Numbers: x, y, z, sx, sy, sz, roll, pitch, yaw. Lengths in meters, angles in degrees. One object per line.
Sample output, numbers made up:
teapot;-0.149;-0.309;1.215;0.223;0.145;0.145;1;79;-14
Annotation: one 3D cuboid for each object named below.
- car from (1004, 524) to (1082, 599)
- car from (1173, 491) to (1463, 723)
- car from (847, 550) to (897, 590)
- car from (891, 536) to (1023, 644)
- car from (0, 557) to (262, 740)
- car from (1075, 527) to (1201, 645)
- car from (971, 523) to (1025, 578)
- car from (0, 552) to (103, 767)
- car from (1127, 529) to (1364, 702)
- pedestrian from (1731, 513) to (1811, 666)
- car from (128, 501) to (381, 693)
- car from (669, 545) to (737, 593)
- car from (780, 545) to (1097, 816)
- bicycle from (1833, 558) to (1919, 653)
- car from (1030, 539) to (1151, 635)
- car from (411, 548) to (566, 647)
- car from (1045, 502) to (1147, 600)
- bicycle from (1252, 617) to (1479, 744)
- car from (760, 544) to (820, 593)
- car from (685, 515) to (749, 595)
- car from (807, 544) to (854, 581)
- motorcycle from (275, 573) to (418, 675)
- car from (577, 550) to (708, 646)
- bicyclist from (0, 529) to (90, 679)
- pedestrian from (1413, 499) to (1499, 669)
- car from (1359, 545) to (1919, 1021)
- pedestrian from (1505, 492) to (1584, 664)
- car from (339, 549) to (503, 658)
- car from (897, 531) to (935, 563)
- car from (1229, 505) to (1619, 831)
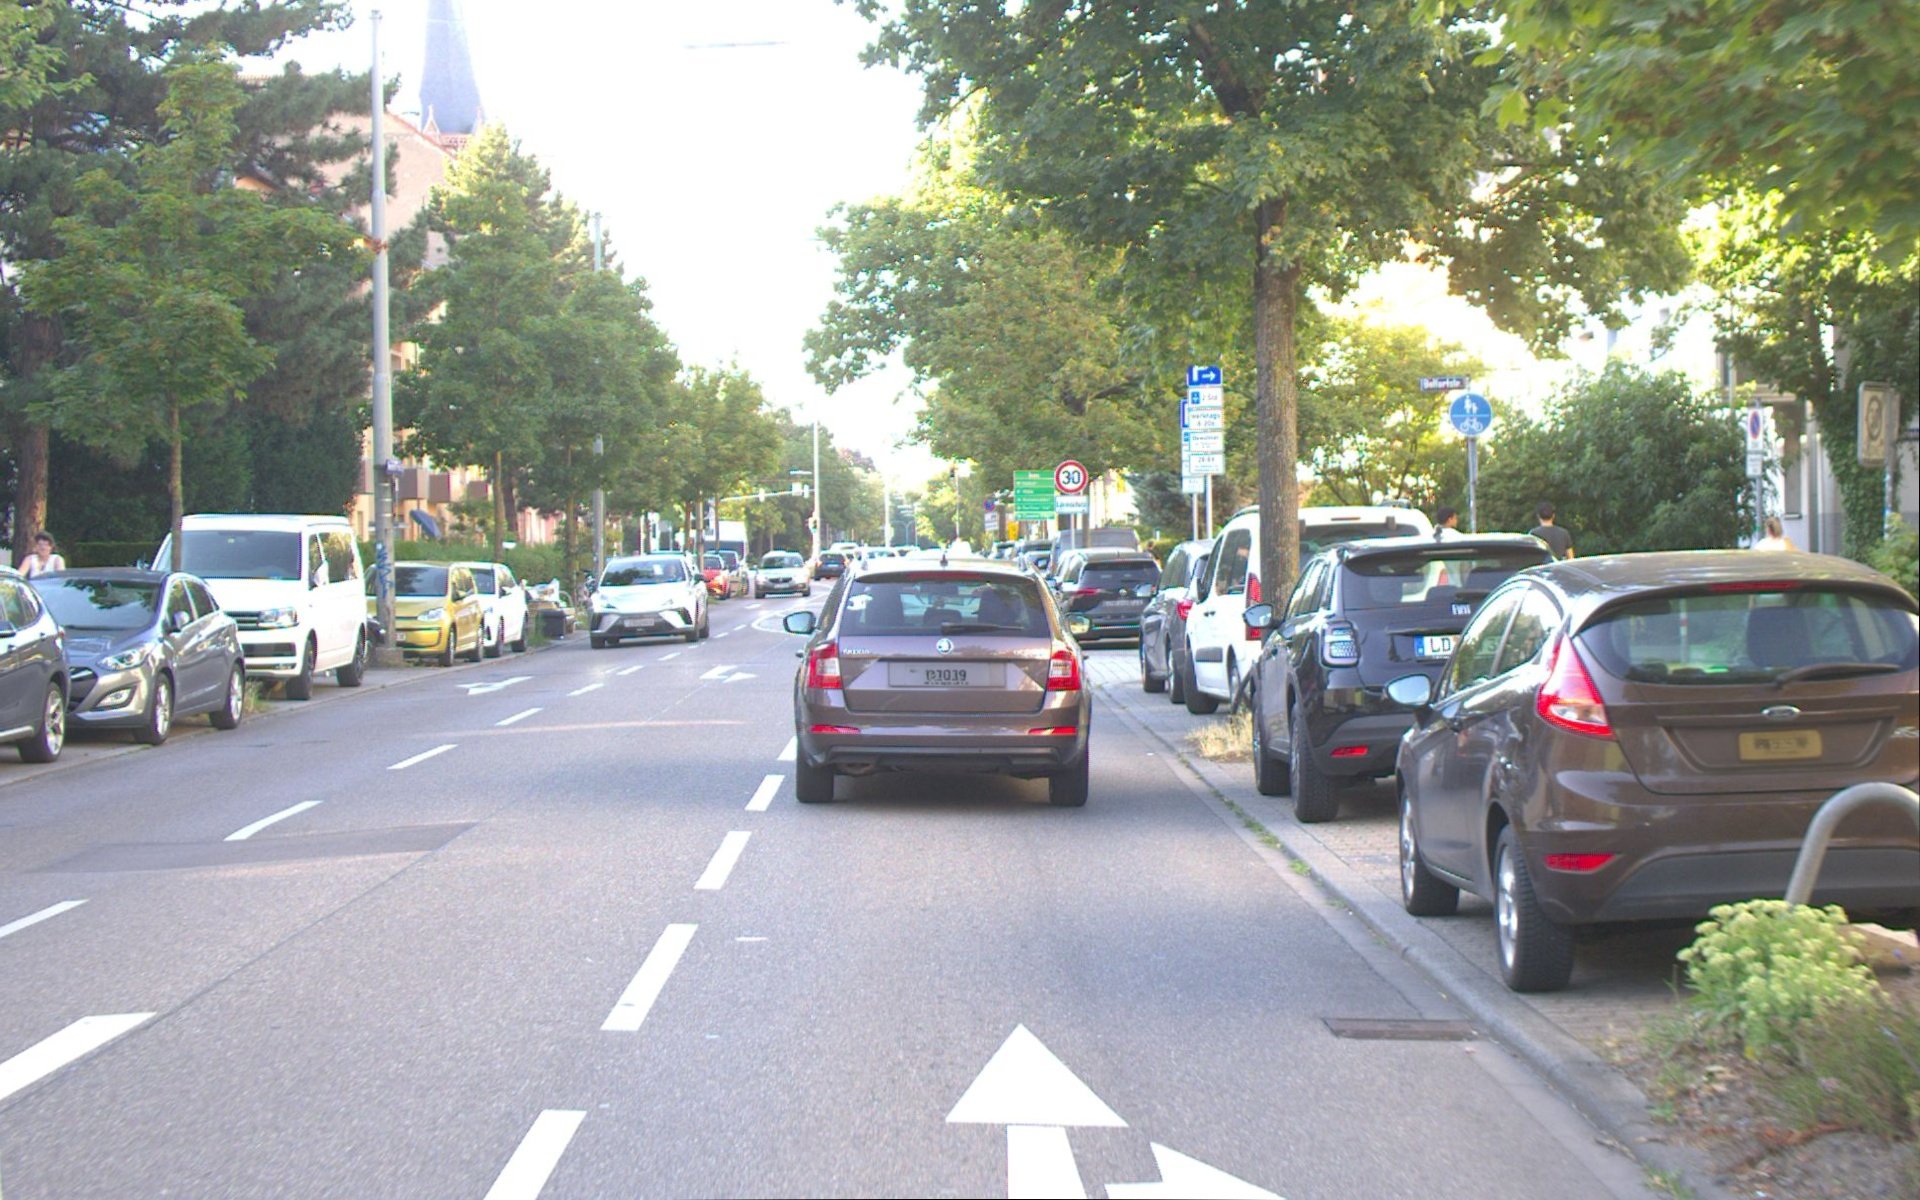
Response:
car;1.957;-0.928;81.262;1.754;1.709;4.000;1;1;1
car;2.958;0.018;29.328;1.800;1.802;4.424;1;1;-3
car;-3.398;-1.162;132.195;1.780;1.475;3.971;1;1;-3
car;-0.075;-0.148;52.748;1.892;1.501;3.790;3;0;-1
car;-7.509;0.376;30.408;1.692;1.478;4.143;-1;1;2
car;2.660;-0.237;52.107;1.754;1.680;4.252;1;1;1
car;1.279;-1.680;116.905;1.754;1.799;4.000;1;1;0
car;-7.756;0.437;25.303;1.672;1.537;4.473;-1;1;1
car;2.762;0.106;34.088;1.754;1.551;4.253;-2;1;-3
pedestrian;9.277;-0.121;39.356;0.799;1.716;0.744;-1;1;9
car;-7.920;-0.075;39.064;1.868;2.024;5.301;0;1;-1
car;-8.293;-1.014;111.193;1.781;1.475;3.971;1;1;2
car;-0.077;0.416;21.224;1.754;1.487;4.000;1;1;1
bicycle;9.558;0.047;35.779;0.475;0.941;1.680;-1;1;-1
car;2.178;-0.246;58.349;1.754;1.551;4.105;1;1;-2
car;-7.451;-0.066;54.644;1.781;1.489;3.971;1;1;2
car;2.676;-0.985;68.582;1.916;1.854;5.633;-1;1;1
bicycle;2.895;0.574;24.571;1.552;0.866;0.393;-1;1;-3
car;-5.600;-1.051;113.884;1.739;1.474;4.310;-4;1;-1
car;-8.729;-1.624;123.752;1.991;2.771;5.504;1;1;-1
car;-6.274;-1.810;166.199;1.993;1.744;4.001;-1;1;-6
motorcycle;-7.835;0.291;44.014;0.659;1.200;2.330;-1;1;21
car;-5.367;-0.057;58.498;1.781;1.489;3.971;-3;1;0
bicyclist;-9.879;0.037;37.134;0.603;1.587;0.939;-1;1;7
pedestrian;5.545;-0.186;38.494;0.749;1.854;1.068;-1;1;-1
car;2.583;0.550;12.915;1.613;1.461;3.959;-2;1;-1
pedestrian;6.432;-0.245;37.826;0.799;1.854;0.950;-1;1;11
car;-7.711;0.016;49.495;1.619;1.475;3.871;1;1;2
car;-2.268;-2.735;176.260;1.644;1.593;3.651;-1;1;-6
car;2.596;0.322;20.147;1.754;1.657;4.252;-2;1;1
